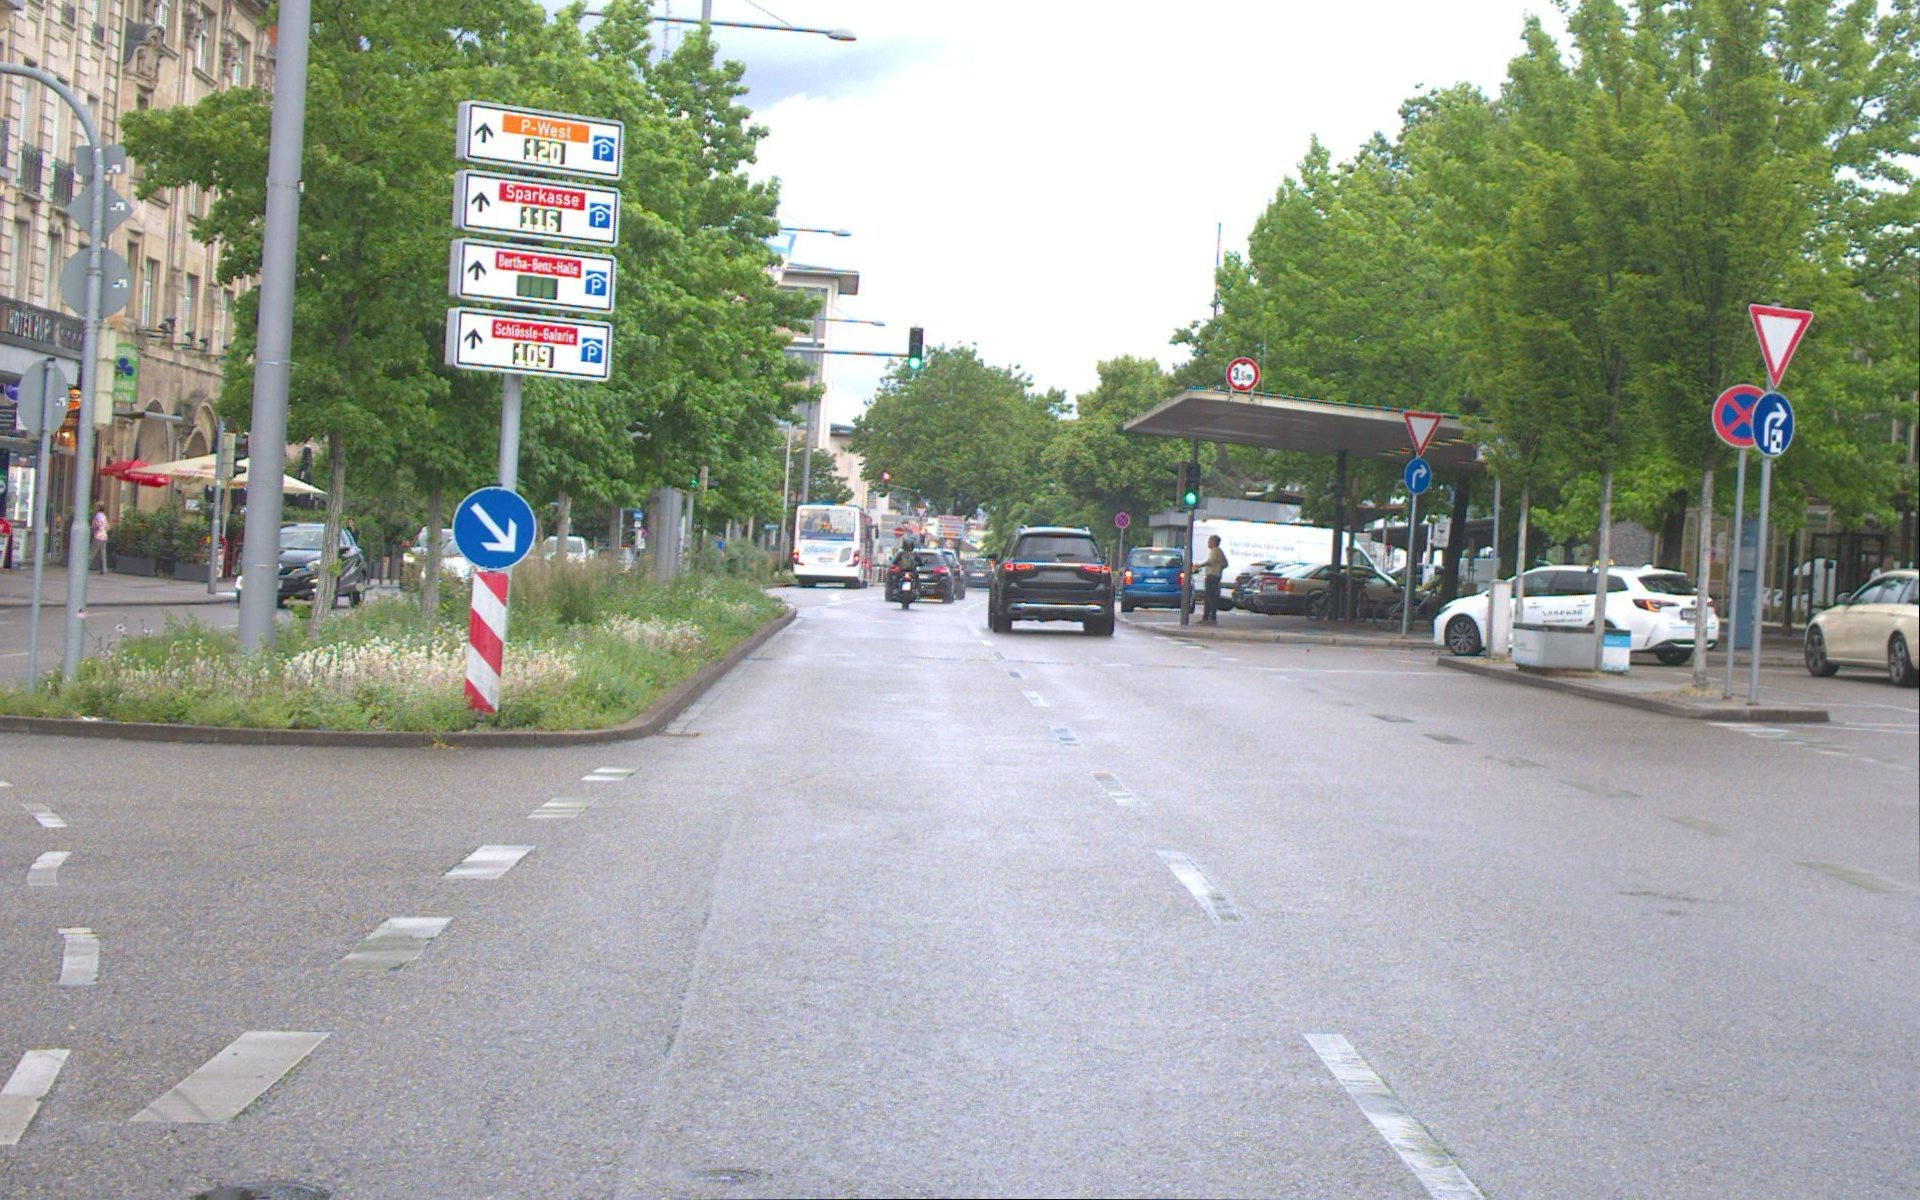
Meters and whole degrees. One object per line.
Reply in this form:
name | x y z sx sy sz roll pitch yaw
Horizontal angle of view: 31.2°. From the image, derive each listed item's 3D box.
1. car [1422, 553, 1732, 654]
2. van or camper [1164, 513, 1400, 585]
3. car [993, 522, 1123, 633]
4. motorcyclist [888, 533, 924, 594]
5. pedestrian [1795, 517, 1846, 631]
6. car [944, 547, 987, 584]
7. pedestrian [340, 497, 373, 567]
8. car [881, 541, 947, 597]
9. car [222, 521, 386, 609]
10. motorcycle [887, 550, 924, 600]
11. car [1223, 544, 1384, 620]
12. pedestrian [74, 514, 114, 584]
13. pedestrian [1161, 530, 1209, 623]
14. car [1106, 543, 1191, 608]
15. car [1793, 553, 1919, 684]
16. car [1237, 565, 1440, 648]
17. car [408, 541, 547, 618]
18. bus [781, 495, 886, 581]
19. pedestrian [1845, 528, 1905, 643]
car | 9.118 0.034 51.089 1.774 1.380 4.366 0 1 -41
van or camper | 9.650 -1.507 102.868 6.753 2.007 2.385 1 0 -26
car | 1.639 -0.419 58.916 1.993 1.800 4.690 1 1 -1
motorcyclist | -1.199 -0.811 76.431 0.764 1.327 0.866 2 1 0
pedestrian | 18.438 -0.554 73.660 0.843 2.403 0.862 1 1 1
car | 0.229 -1.457 144.010 1.708 1.469 4.000 1 1 -1
pedestrian | -14.850 -1.680 84.585 0.674 1.696 0.634 1 1 -1
car | -1.246 -0.846 92.903 1.708 1.443 4.000 1 1 -1
car | -12.002 -0.646 63.124 1.772 1.525 4.077 1 1 7
motorcycle | -1.200 -0.573 76.358 0.766 1.073 2.175 2 1 0
car | 9.643 -0.506 96.662 3.986 2.007 2.001 1 1 -20
pedestrian | -18.829 -1.100 74.771 0.661 1.505 0.519 1 1 -38
pedestrian | 4.355 -0.462 66.575 0.717 1.785 0.666 1 1 -12
car | 4.656 -0.631 85.411 1.816 1.525 4.000 1 1 -1
car | 12.610 0.227 44.313 1.993 1.594 4.824 1 1 -7
car | 9.059 0.145 82.293 4.335 1.851 2.001 1 1 -20
car | -9.024 -0.413 64.674 1.724 1.377 4.859 1 1 2
bus | -5.226 -2.498 139.163 3.760 3.198 15.528 1 1 -4
pedestrian | 16.124 -0.256 60.601 0.769 2.007 0.828 1 1 -2
